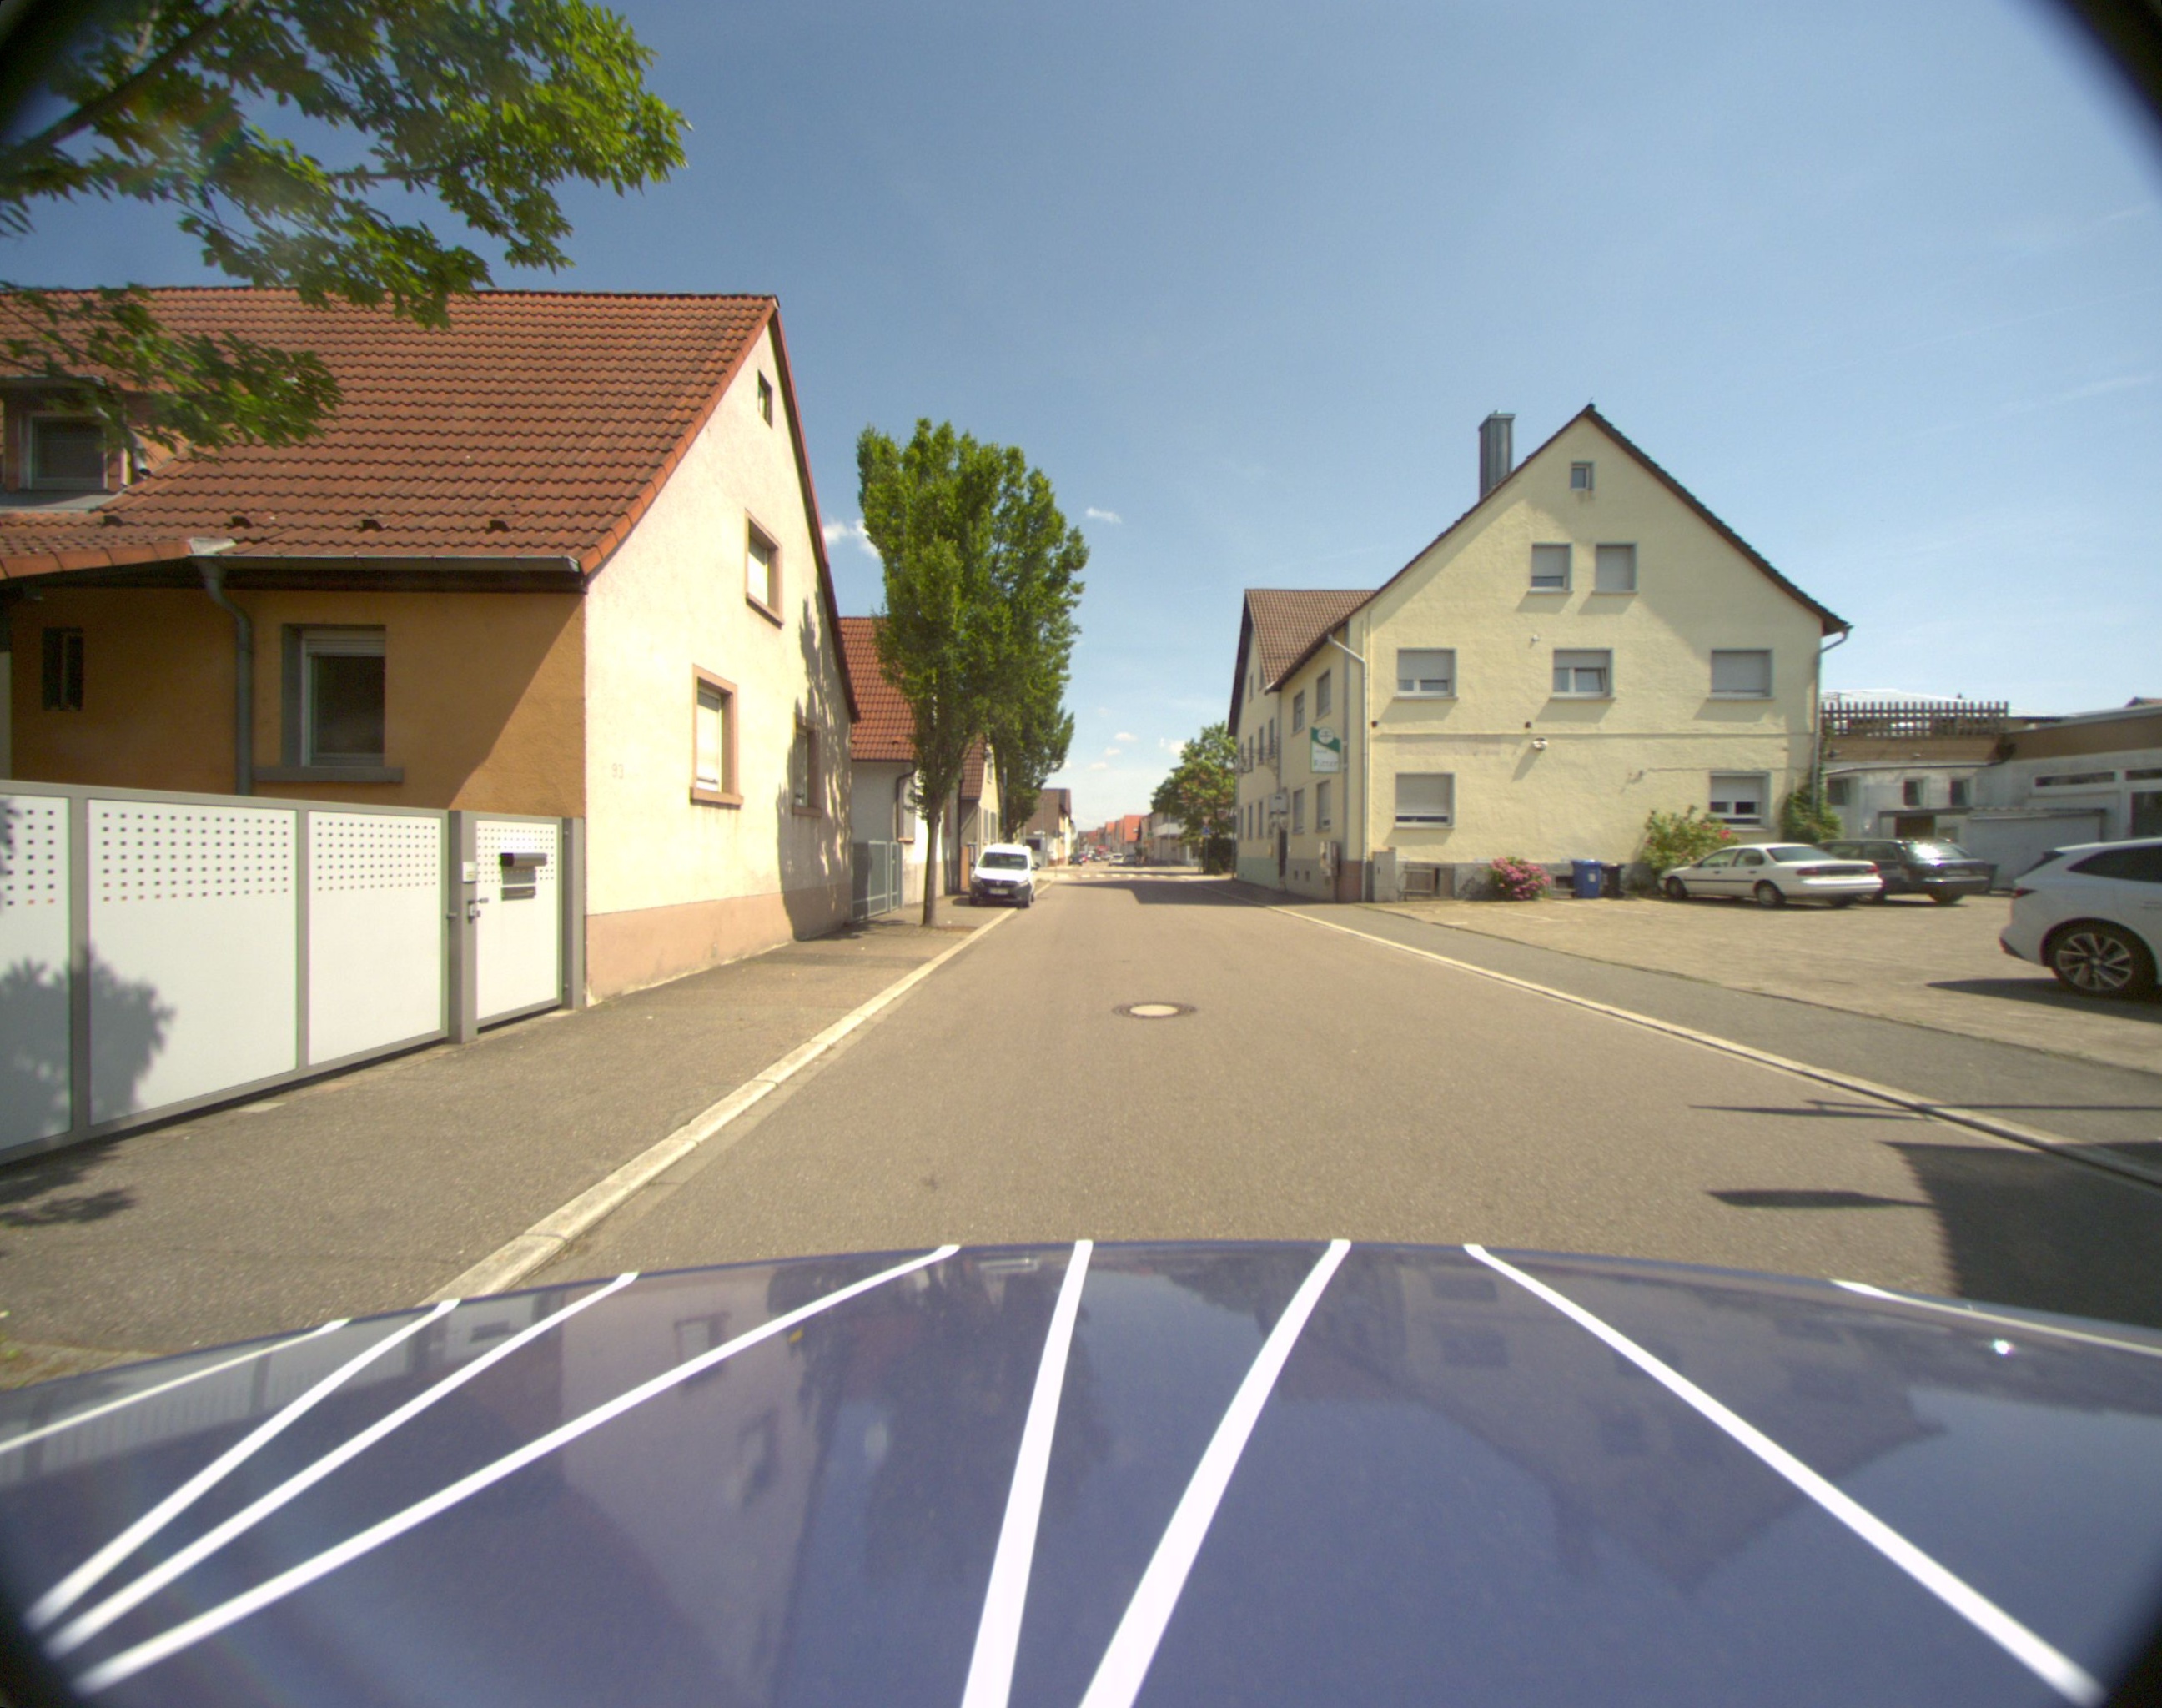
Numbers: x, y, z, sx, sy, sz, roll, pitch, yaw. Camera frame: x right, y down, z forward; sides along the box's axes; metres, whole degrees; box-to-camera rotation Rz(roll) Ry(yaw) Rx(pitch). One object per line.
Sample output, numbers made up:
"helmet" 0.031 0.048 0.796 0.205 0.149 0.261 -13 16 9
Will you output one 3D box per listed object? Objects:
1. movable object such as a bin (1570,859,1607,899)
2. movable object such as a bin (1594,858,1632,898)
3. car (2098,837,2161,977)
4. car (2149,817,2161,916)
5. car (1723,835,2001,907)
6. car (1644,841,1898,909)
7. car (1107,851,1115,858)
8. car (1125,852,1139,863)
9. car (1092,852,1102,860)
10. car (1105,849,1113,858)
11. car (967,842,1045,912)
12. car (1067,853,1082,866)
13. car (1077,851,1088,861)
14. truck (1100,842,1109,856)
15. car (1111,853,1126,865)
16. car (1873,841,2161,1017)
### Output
"movable object such as a bin" 13.854 0.680 20.756 0.578 1.066 0.680 -1 1 2
"movable object such as a bin" 14.552 0.657 20.783 0.578 1.066 0.680 -1 1 2
"car" 13.305 0.615 7.038 1.778 1.610 4.478 -1 1 0
"car" 20.967 0.192 12.203 4.692 1.715 2.037 -1 1 1
"car" 18.352 0.328 18.283 1.828 1.472 4.830 -1 1 2
"car" 16.144 0.415 18.229 1.828 1.372 4.830 -1 1 2
"car" 6.225 0.166 158.852 1.726 1.385 4.170 0 -2 3
"car" 6.820 0.512 101.367 1.726 1.385 4.170 0 -2 3
"car" 2.782 0.369 131.849 1.598 1.386 4.168 -1 1 1
"car" 6.507 -0.218 177.709 1.727 2.097 4.167 -1 1 -1
"car" -2.132 0.601 22.938 1.692 1.832 4.764 3 1 1
"car" -0.784 0.663 90.753 1.598 1.385 4.170 0 -2 2
"car" 0.240 0.364 118.914 1.598 1.385 4.170 0 -2 2
"truck" 5.916 -1.209 192.903 1.999 3.420 7.073 -1 1 -1
"car" 4.284 0.551 86.840 1.598 1.386 4.168 -1 1 1
"car" 10.575 0.664 7.038 1.778 1.561 4.478 -1 1 -1
